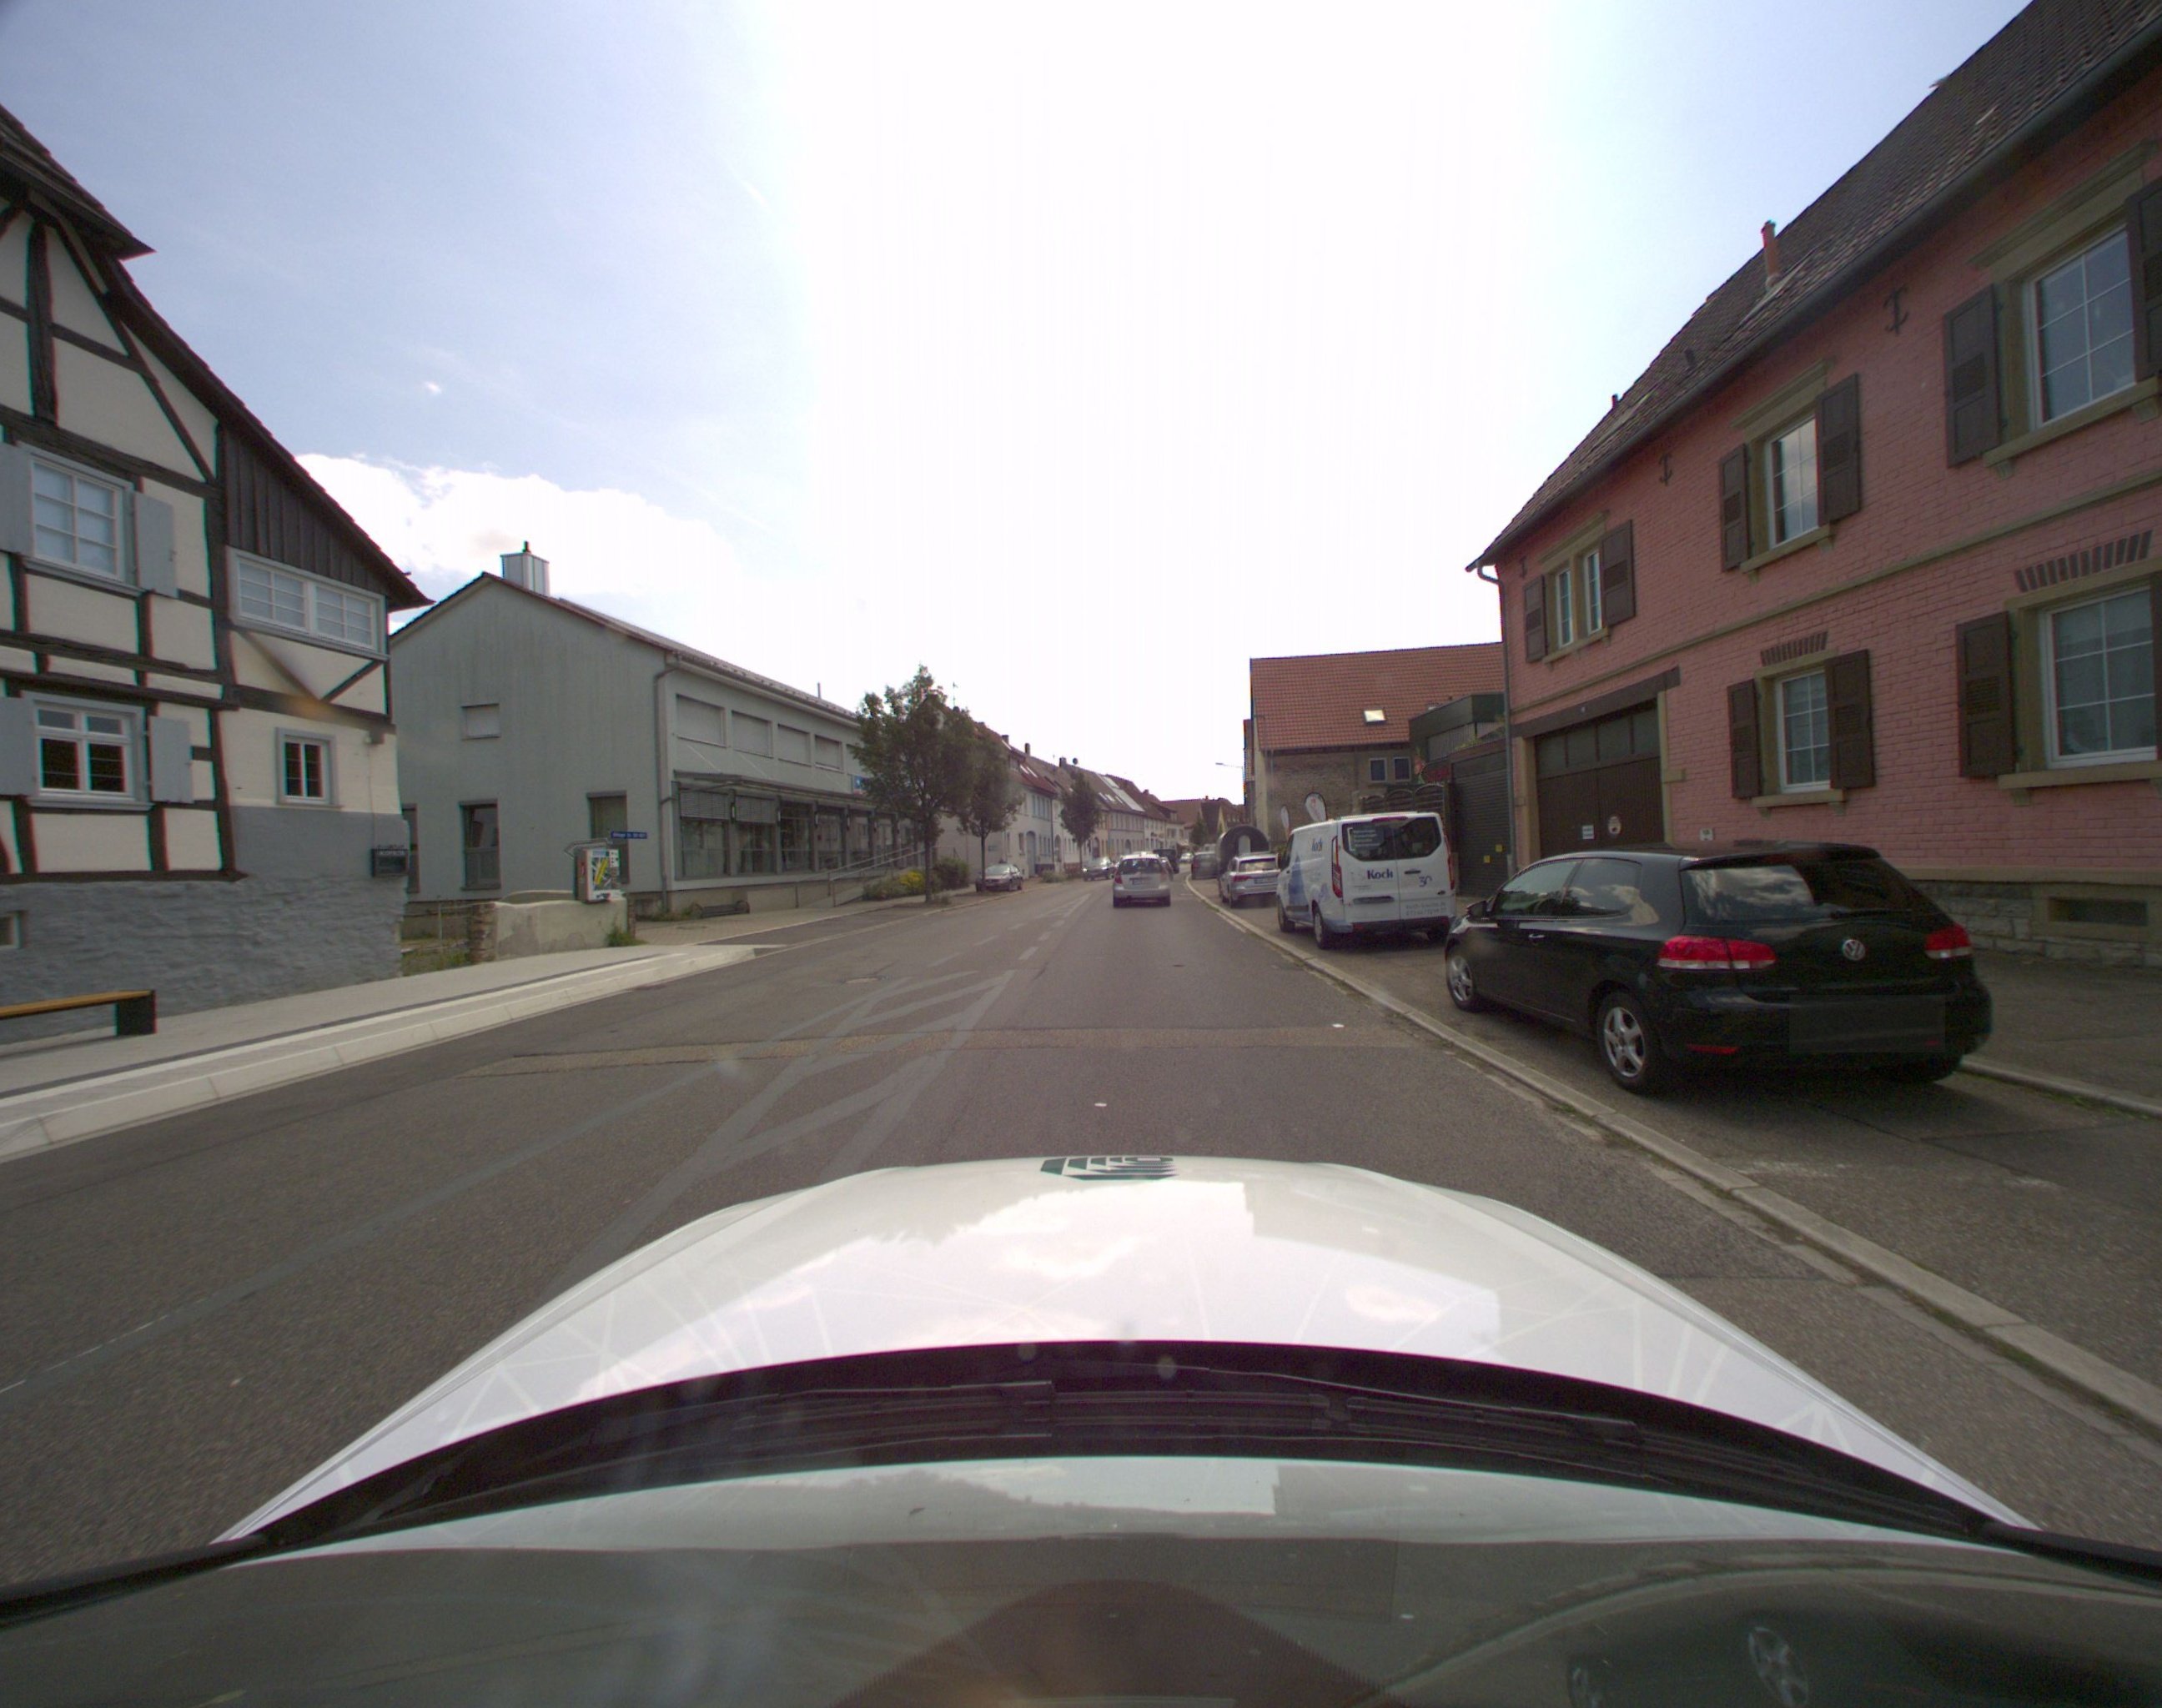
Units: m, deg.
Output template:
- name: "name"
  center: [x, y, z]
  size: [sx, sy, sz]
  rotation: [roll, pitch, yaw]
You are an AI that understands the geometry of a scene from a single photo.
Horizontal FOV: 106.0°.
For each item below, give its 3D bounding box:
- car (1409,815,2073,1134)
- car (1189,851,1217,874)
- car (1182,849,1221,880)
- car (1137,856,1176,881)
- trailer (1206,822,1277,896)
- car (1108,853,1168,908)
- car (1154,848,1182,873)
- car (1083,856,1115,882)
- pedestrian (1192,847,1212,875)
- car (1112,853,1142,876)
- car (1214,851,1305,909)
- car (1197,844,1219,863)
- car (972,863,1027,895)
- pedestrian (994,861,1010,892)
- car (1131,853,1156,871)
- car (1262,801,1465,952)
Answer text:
- name: "car"
  center: [4.160, 0.624, 6.202]
  size: [1.767, 1.495, 4.165]
  rotation: [-4, 0, 4]
- name: "car"
  center: [9.749, 0.659, 64.886]
  size: [1.849, 1.626, 4.210]
  rotation: [-4, -1, 11]
- name: "car"
  center: [7.105, 0.592, 47.683]
  size: [1.981, 1.559, 4.012]
  rotation: [-4, 0, 11]
- name: "car"
  center: [4.462, 0.849, 47.794]
  size: [1.933, 1.407, 4.011]
  rotation: [-1, -1, 10]
- name: "trailer"
  center: [5.584, 0.158, 28.746]
  size: [1.837, 2.354, 3.592]
  rotation: [-4, 0, 3]
- name: "car"
  center: [1.838, 0.805, 26.086]
  size: [1.761, 1.595, 4.004]
  rotation: [0, -1, 4]
- name: "car"
  center: [6.974, 0.526, 64.844]
  size: [1.757, 1.888, 4.461]
  rotation: [-1, -1, 12]
- name: "car"
  center: [1.280, 0.995, 55.997]
  size: [1.734, 1.526, 4.027]
  rotation: [-4, 0, 7]
- name: "pedestrian"
  center: [8.419, 0.476, 56.686]
  size: [1.087, 1.821, 1.476]
  rotation: [-3, -1, 16]
- name: "car"
  center: [3.921, 0.882, 68.610]
  size: [1.943, 1.784, 4.664]
  rotation: [-2, 0, 9]
- name: "car"
  center: [5.093, 0.688, 23.819]
  size: [1.867, 1.481, 4.679]
  rotation: [-2, 0, 4]
- name: "car"
  center: [16.112, -0.025, 103.232]
  size: [2.220, 2.222, 4.015]
  rotation: [-4, -1, 14]
- name: "car"
  center: [-4.144, 1.259, 42.067]
  size: [1.794, 1.460, 4.167]
  rotation: [-2, 0, 8]
- name: "pedestrian"
  center: [-4.795, 1.357, 49.285]
  size: [0.735, 1.801, 0.643]
  rotation: [-4, -1, 5]
- name: "car"
  center: [7.107, 0.896, 92.515]
  size: [2.076, 1.884, 4.015]
  rotation: [-3, 0, 14]
- name: "car"
  center: [4.543, 0.326, 13.981]
  size: [1.884, 1.982, 4.935]
  rotation: [-5, -1, 4]
